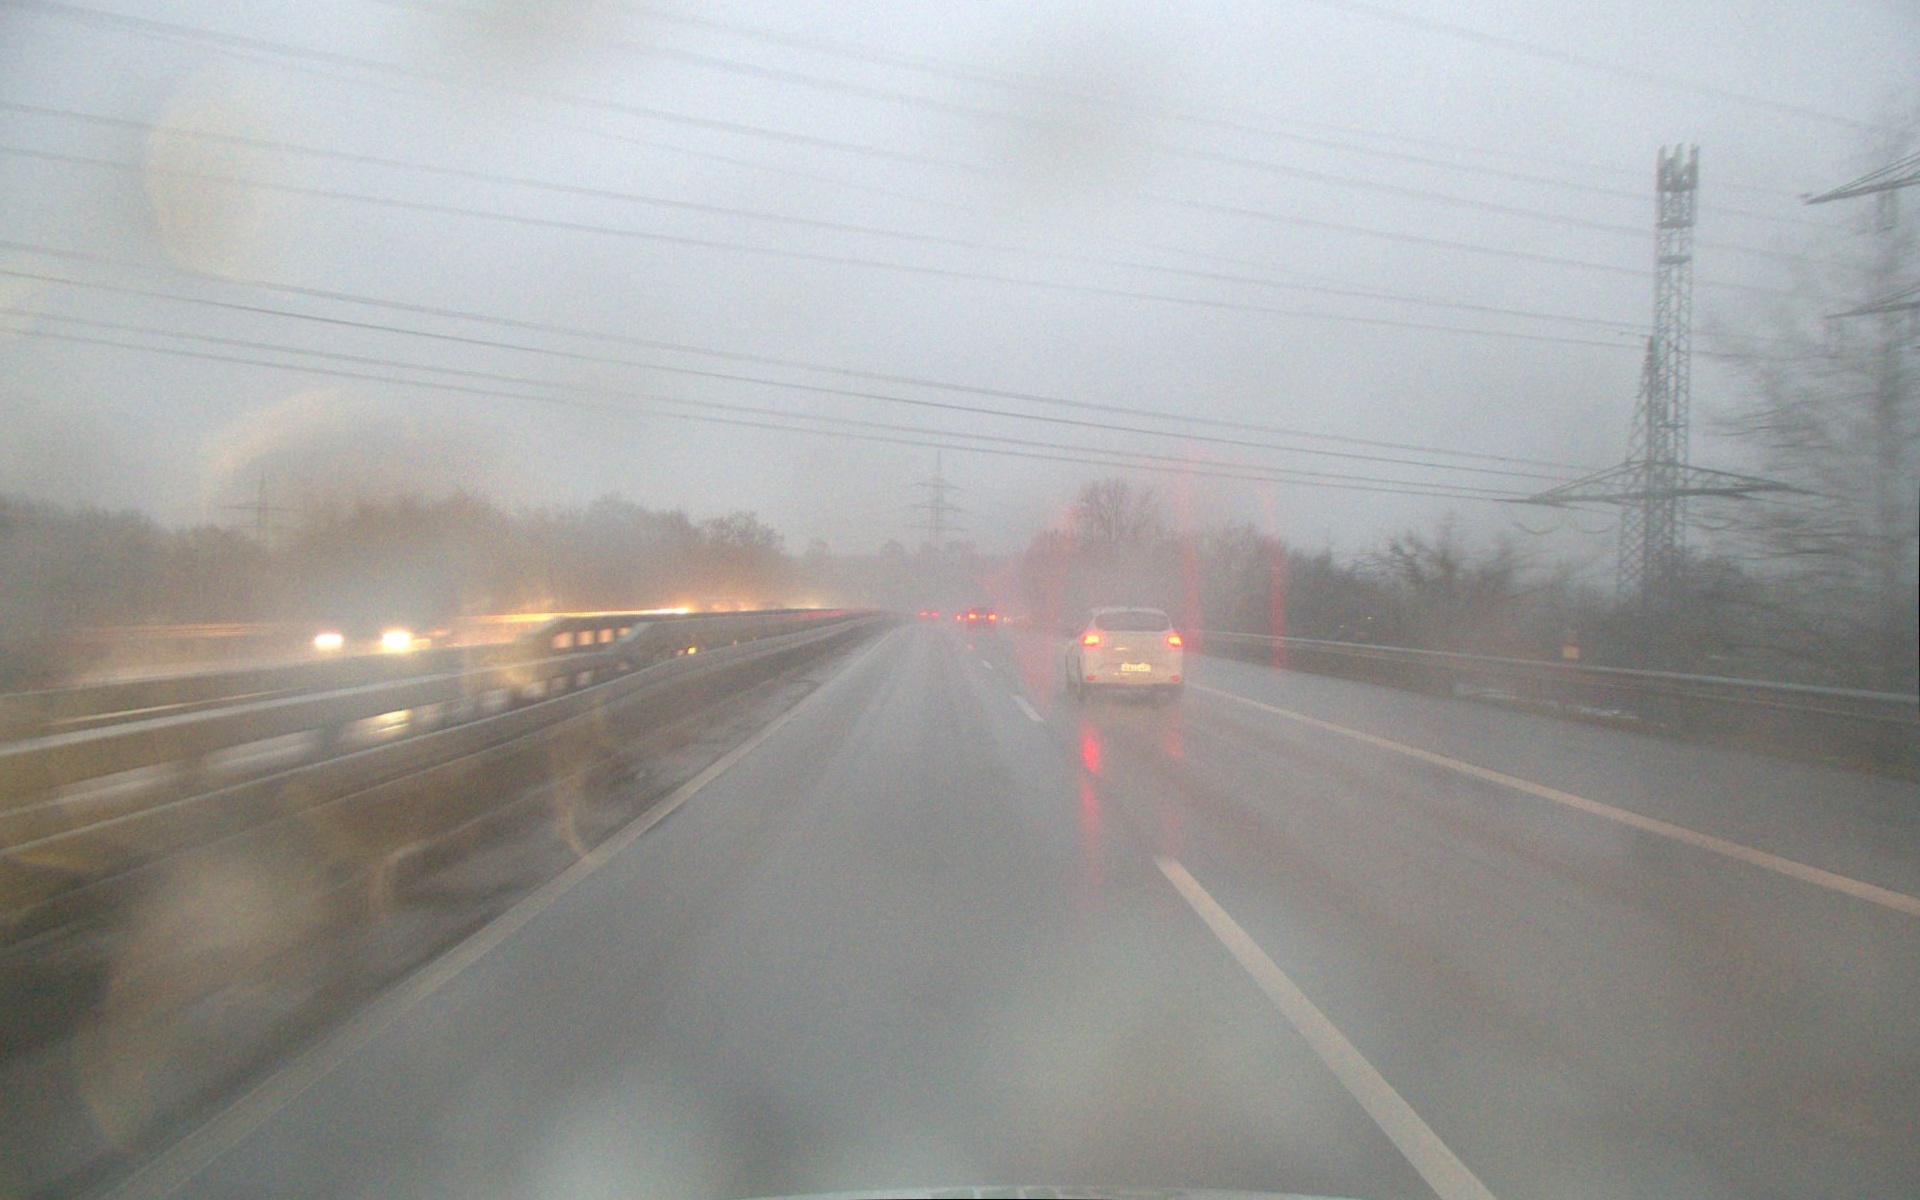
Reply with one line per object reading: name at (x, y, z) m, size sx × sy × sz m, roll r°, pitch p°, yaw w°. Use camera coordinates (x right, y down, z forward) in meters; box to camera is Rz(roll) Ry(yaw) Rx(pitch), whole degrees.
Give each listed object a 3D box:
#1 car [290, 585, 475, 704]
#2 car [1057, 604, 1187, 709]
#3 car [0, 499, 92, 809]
car at (-11.219, 0.816, 32.517) m, size 2.028 × 2.151 × 4.761 m, roll 0°, pitch 0°, yaw -1°
car at (2.729, 0.921, 28.549) m, size 1.808 × 1.664 × 3.767 m, roll 0°, pitch 0°, yaw -1°
car at (-7.641, 0.369, 10.276) m, size 2.028 × 2.151 × 4.761 m, roll 0°, pitch 0°, yaw -1°
